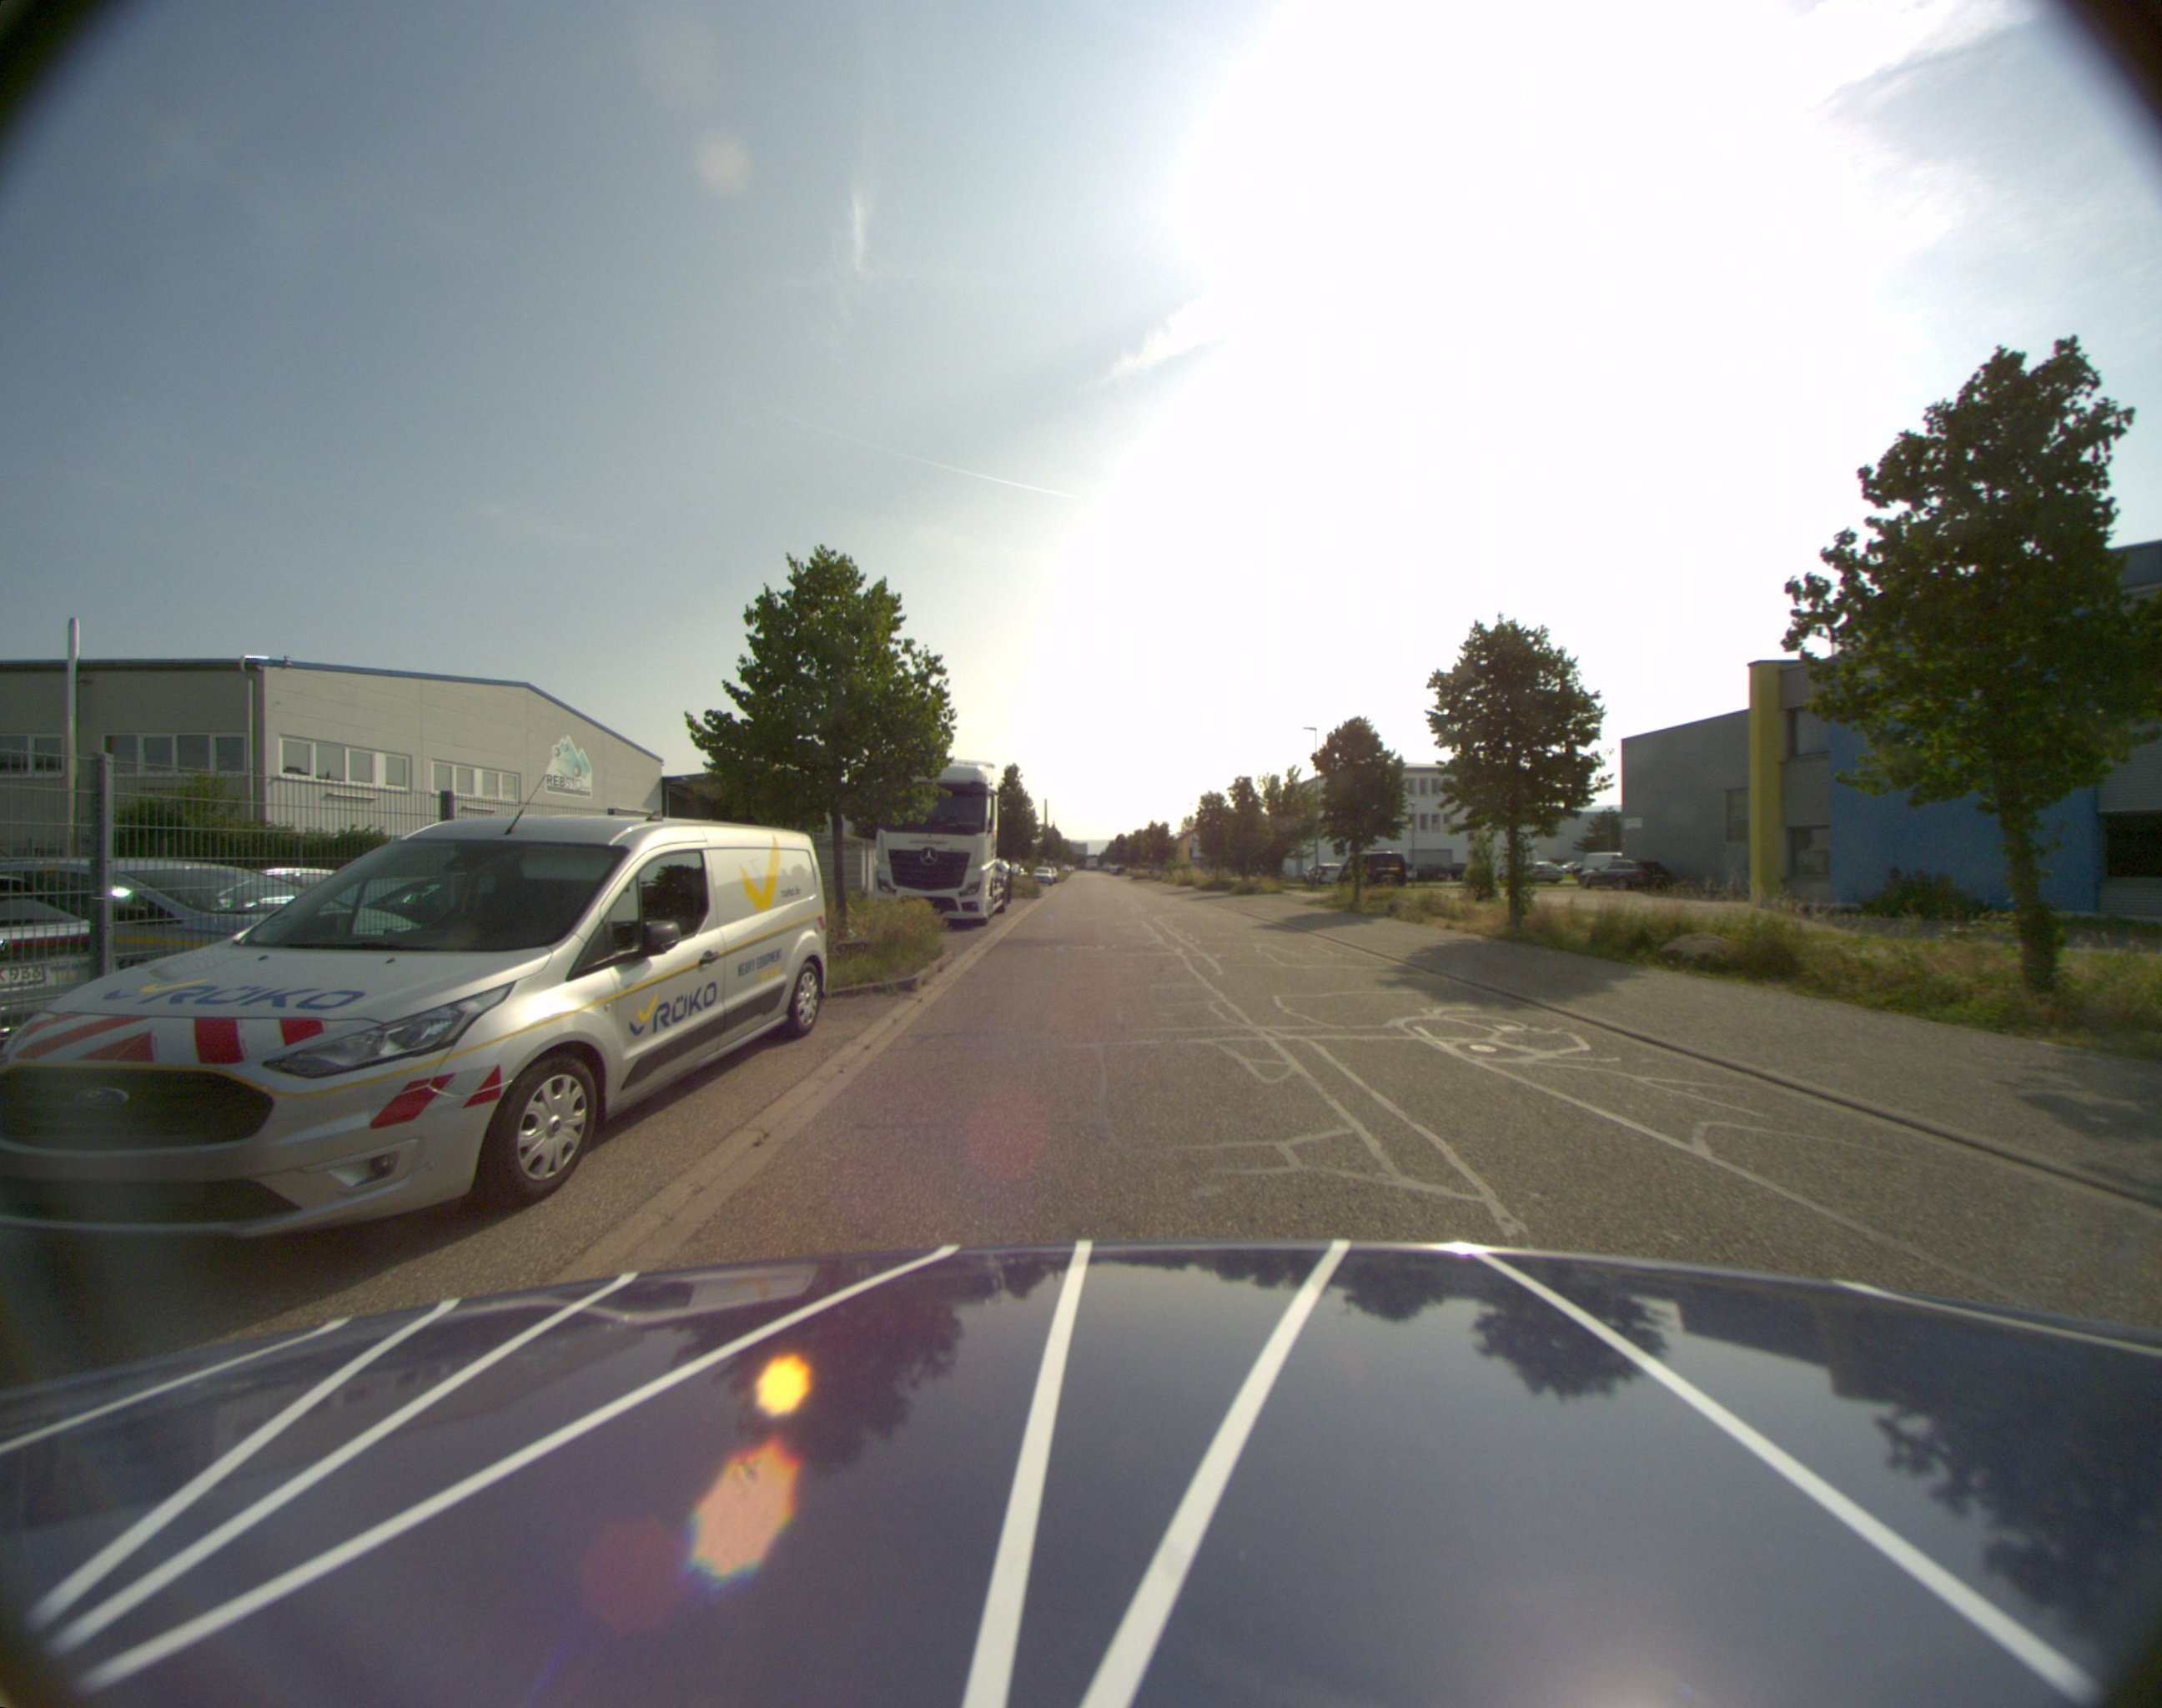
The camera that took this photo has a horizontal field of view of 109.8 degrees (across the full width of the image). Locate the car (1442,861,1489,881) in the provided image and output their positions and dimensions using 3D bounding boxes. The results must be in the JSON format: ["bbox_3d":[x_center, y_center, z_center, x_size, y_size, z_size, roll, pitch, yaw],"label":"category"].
[{"bbox_3d":[29.755,1.314,58.892,1.759,1.459,3.919,-1,-1,1],"label":"car"}]

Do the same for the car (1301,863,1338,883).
[{"bbox_3d":[18.634,1.483,59.609,1.759,1.459,3.919,-1,-1,1],"label":"car"}]

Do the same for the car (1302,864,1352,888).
[{"bbox_3d":[15.302,1.334,47.424,1.790,1.441,3.918,-1,-1,-2],"label":"car"}]

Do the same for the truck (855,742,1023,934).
[{"bbox_3d":[-3.369,-0.264,20.884,2.753,3.991,9.687,2,-1,0],"label":"truck"}]

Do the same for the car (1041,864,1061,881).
[{"bbox_3d":[-2.788,1.716,71.558,1.694,1.495,3.541,1,-1,0],"label":"car"}]

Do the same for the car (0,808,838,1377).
[{"bbox_3d":[-3.301,0.752,4.685,1.998,1.779,4.600,-1,0,1],"label":"car"}]

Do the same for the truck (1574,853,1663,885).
[{"bbox_3d":[33.893,0.911,48.111,1.999,1.892,4.952,-1,-1,-3],"label":"truck"}]

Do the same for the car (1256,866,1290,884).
[{"bbox_3d":[15.003,1.619,59.662,1.759,1.401,3.919,-1,-1,1],"label":"car"}]

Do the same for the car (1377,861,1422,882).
[{"bbox_3d":[24.815,1.346,59.313,1.910,1.609,3.919,-1,-1,1],"label":"car"}]

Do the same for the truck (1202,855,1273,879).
[{"bbox_3d":[20.536,1.711,99.729,8.845,2.816,2.513,2,0,-10],"label":"truck"}]

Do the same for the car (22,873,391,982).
[{"bbox_3d":[-14.768,1.124,13.278,1.895,1.547,4.100,-1,-1,-5],"label":"car"}]

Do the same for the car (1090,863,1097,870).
[{"bbox_3d":[2.971,3.081,183.529,1.668,1.495,3.540,-1,0,0],"label":"car"}]

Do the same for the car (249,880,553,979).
[{"bbox_3d":[-12.014,1.253,13.873,1.889,1.423,4.001,-1,-1,1],"label":"car"}]

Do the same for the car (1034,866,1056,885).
[{"bbox_3d":[-2.965,1.738,63.154,1.668,1.495,3.541,1,-1,0],"label":"car"}]

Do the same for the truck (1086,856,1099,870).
[{"bbox_3d":[3.501,2.737,235.579,3.413,4.017,10.396,-2,-1,0],"label":"truck"}]

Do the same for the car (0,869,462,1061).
[{"bbox_3d":[-8.401,0.901,6.881,3.999,1.468,1.790,0,0,-5],"label":"car"}]

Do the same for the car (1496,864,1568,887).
[{"bbox_3d":[28.180,1.333,47.653,1.737,1.364,4.382,-1,-1,-3],"label":"car"}]

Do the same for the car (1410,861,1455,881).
[{"bbox_3d":[27.384,1.328,59.241,1.759,1.459,3.919,-1,-1,1],"label":"car"}]

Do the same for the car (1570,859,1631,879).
[{"bbox_3d":[40.427,1.132,59.262,1.759,1.459,4.564,-1,-1,1],"label":"car"}]

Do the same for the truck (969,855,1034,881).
[{"bbox_3d":[-7.843,1.344,74.641,6.194,2.515,2.280,0,0,33],"label":"truck"}]

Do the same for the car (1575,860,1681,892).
[{"bbox_3d":[26.663,1.037,37.260,1.719,1.452,4.782,-1,-1,0],"label":"car"}]

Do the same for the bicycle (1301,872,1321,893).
[{"bbox_3d":[11.315,1.409,37.479,0.541,0.973,1.871,-1,-1,4],"label":"bicycle"}]

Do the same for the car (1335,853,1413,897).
[{"bbox_3d":[14.130,1.009,36.984,1.886,2.001,4.992,0,-1,0],"label":"car"}]
